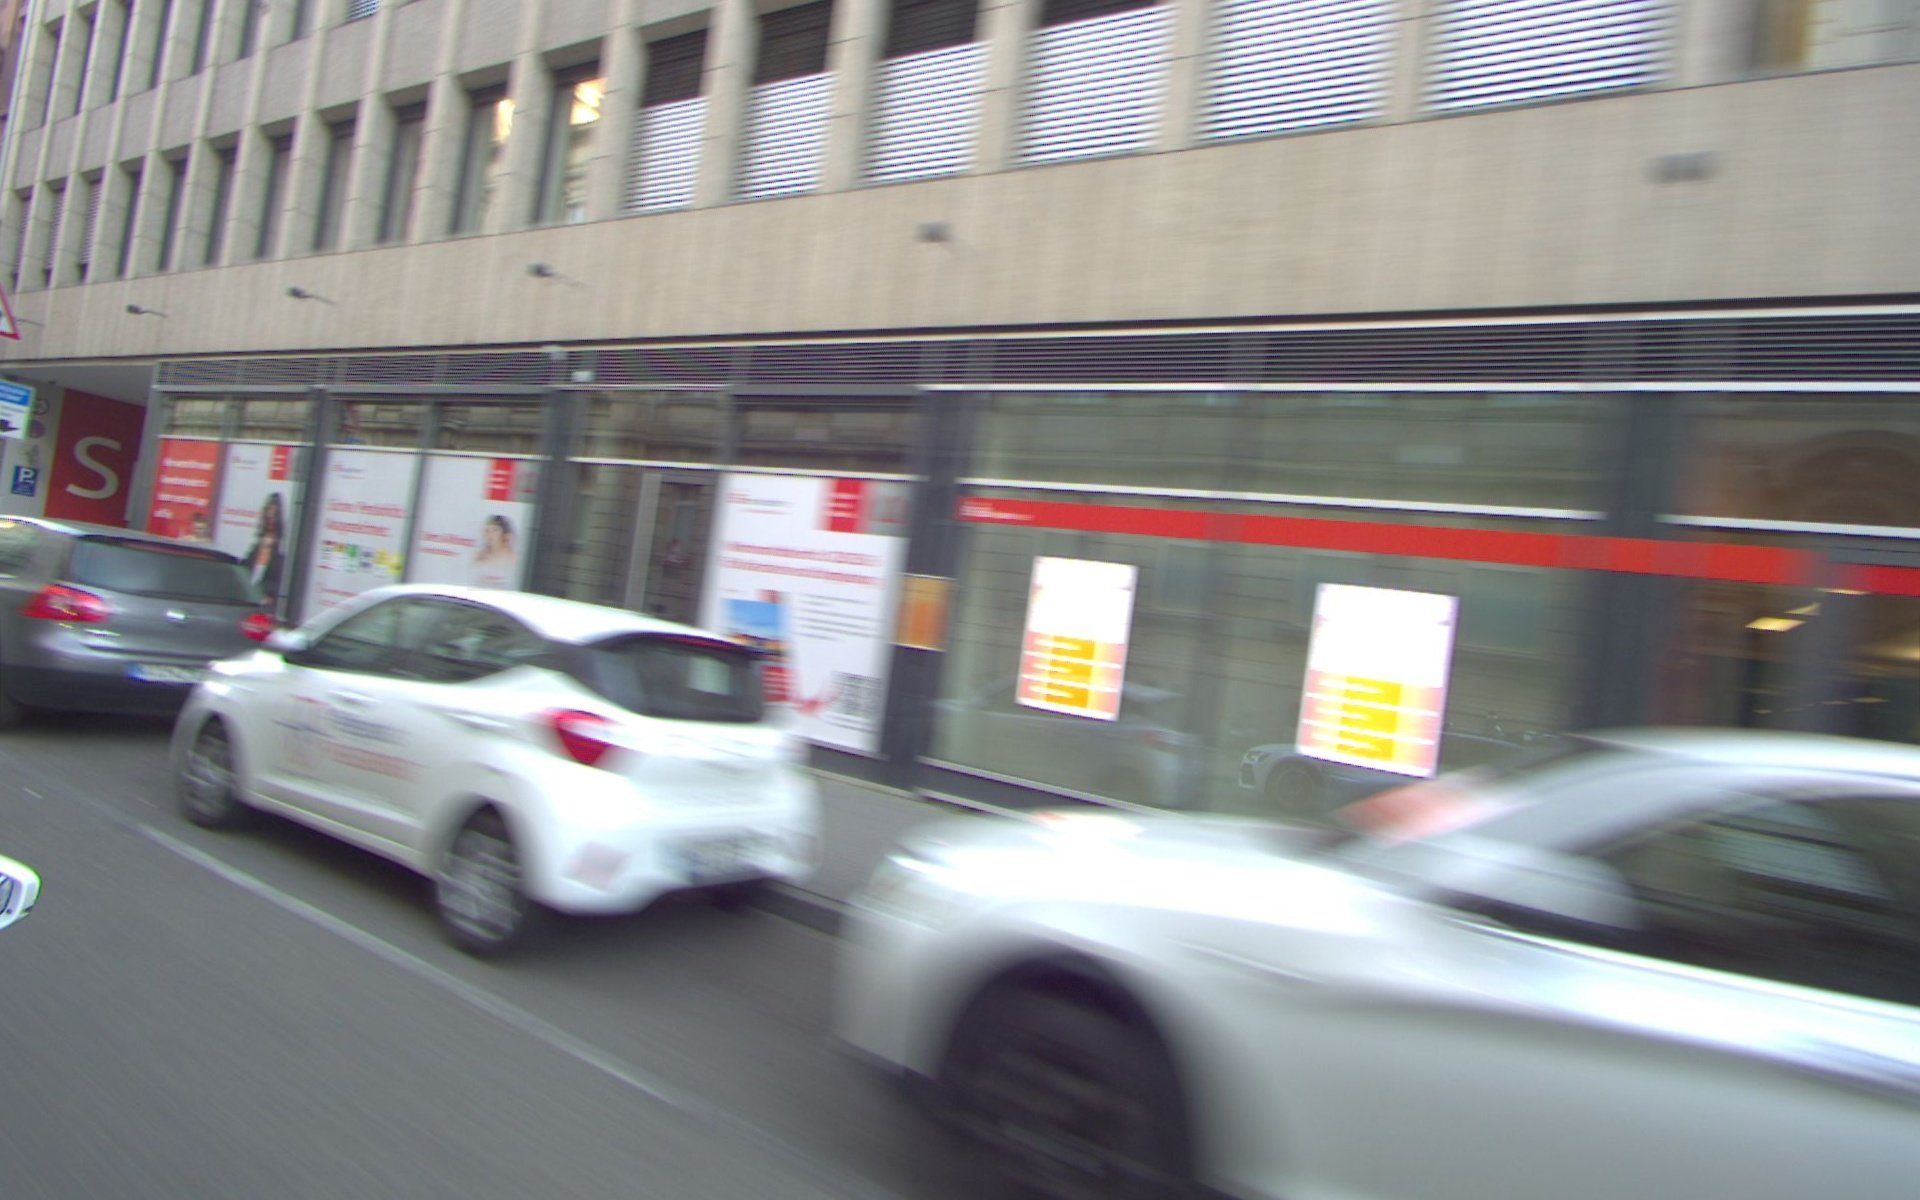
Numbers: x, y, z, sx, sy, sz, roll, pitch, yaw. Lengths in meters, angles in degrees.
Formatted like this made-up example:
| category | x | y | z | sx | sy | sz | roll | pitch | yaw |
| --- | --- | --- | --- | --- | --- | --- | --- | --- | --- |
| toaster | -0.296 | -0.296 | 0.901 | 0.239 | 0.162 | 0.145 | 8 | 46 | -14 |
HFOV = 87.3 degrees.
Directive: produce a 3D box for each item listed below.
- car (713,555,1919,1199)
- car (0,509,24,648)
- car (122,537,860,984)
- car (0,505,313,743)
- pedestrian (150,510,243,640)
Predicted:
| category | x | y | z | sx | sy | sz | roll | pitch | yaw |
| --- | --- | --- | --- | --- | --- | --- | --- | --- | --- |
| car | 1.881 | 1.050 | 2.572 | 4.730 | 1.683 | 1.782 | 6 | -4 | 28 |
| car | -12.391 | -0.523 | 11.142 | 4.235 | 1.463 | 1.662 | 6 | -4 | 30 |
| car | -2.648 | 0.646 | 5.484 | 3.805 | 1.463 | 1.662 | 6 | -4 | 31 |
| car | -7.397 | 0.055 | 8.103 | 4.369 | 1.463 | 1.662 | 6 | -4 | 29 |
| pedestrian | -10.354 | -0.330 | 13.649 | 0.639 | 1.655 | 0.649 | 7 | 0 | 29 |
